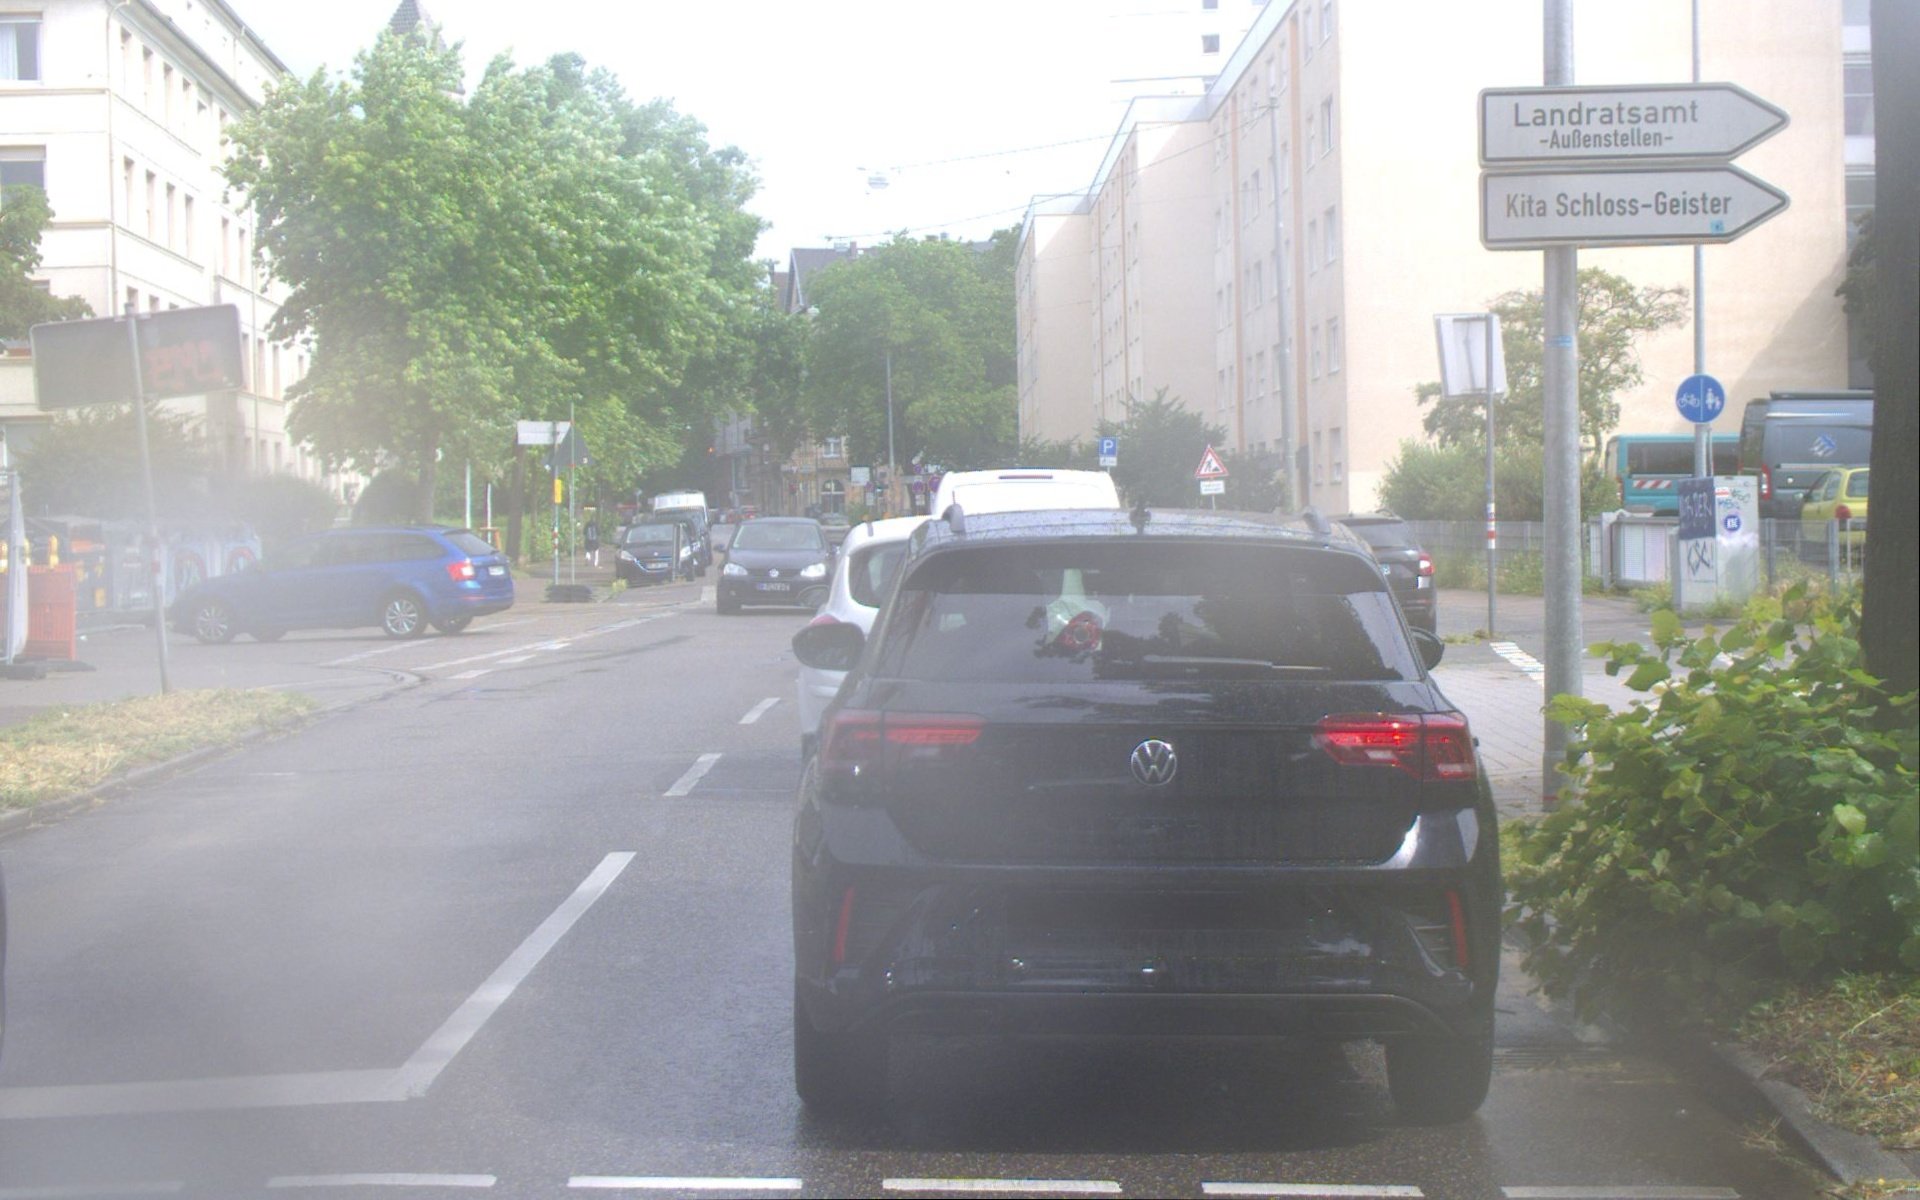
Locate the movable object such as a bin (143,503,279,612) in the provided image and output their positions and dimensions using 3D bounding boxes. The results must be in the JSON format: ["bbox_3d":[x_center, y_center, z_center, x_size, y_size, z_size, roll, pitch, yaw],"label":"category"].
[{"bbox_3d":[-12.012,-0.693,55.196,1.539,1.656,1.457,-1,2,19],"label":"movable object such as a bin"}]

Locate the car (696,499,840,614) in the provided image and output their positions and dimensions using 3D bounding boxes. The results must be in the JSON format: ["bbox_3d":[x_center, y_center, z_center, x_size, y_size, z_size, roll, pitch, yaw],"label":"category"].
[{"bbox_3d":[-2.895,-0.694,52.546,1.841,1.602,4.000,-3,2,1],"label":"car"}]

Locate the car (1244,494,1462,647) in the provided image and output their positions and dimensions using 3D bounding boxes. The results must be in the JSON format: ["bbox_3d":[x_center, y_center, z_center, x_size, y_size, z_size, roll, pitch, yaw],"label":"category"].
[{"bbox_3d":[4.423,-0.379,39.262,1.774,1.534,4.379,-4,2,-2],"label":"car"}]

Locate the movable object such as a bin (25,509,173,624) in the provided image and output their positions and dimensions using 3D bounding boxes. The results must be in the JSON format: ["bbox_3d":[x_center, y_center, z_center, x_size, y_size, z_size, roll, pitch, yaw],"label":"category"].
[{"bbox_3d":[-13.041,-0.520,52.123,1.539,1.650,1.526,-1,2,19],"label":"movable object such as a bin"}]

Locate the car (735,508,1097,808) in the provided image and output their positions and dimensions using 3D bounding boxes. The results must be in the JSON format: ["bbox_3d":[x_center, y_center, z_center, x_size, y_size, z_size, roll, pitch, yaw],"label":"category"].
[{"bbox_3d":[-0.231,0.269,19.378,1.813,1.498,4.000,1,1,0],"label":"car"}]

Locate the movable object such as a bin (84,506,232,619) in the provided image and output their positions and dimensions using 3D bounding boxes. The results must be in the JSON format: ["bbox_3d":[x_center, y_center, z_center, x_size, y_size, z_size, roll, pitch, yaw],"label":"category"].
[{"bbox_3d":[-12.511,-0.596,53.683,1.539,1.668,1.664,-1,2,19],"label":"movable object such as a bin"}]

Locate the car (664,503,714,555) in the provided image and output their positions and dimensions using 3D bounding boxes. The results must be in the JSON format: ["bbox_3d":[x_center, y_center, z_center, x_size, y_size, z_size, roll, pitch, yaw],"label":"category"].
[{"bbox_3d":[-9.091,-2.387,115.181,1.585,1.633,3.921,-3,2,-5],"label":"car"}]

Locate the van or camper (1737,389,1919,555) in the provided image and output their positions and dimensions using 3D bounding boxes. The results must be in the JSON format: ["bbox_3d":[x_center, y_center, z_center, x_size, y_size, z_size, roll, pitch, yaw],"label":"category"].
[{"bbox_3d":[15.055,-2.025,54.462,4.998,2.545,2.175,-1,1,1],"label":"van or camper"}]

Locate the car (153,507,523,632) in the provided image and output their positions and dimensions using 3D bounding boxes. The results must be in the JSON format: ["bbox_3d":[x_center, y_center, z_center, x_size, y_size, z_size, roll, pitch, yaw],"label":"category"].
[{"bbox_3d":[-8.181,-0.410,45.333,4.435,1.579,1.821,0,2,13],"label":"car"}]

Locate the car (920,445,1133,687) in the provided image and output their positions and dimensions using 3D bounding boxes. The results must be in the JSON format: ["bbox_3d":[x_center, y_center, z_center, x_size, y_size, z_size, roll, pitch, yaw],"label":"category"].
[{"bbox_3d":[0.634,-0.320,32.047,1.836,2.095,4.000,1,1,2],"label":"car"}]

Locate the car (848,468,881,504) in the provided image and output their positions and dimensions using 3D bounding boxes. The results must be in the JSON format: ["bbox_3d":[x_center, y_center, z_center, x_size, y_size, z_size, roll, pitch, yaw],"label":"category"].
[{"bbox_3d":[-5.049,-6.007,181.550,1.665,1.831,4.001,-2,2,-2],"label":"car"}]

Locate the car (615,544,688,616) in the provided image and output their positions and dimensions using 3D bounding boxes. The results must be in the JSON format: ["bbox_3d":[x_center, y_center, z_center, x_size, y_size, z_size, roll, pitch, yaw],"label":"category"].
[{"bbox_3d":[-7.097,-0.489,79.232,1.585,1.500,4.065,-3,2,-5],"label":"car"}]

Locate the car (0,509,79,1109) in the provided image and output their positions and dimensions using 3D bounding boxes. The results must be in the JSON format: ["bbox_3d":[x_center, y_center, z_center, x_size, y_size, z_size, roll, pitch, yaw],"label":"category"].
[{"bbox_3d":[-3.425,0.608,7.575,1.813,1.535,3.982,-1,2,2],"label":"car"}]

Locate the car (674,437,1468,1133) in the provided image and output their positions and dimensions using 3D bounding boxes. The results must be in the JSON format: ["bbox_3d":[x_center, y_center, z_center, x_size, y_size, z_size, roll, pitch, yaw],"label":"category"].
[{"bbox_3d":[0.249,0.411,10.216,1.873,1.640,4.062,1,1,0],"label":"car"}]

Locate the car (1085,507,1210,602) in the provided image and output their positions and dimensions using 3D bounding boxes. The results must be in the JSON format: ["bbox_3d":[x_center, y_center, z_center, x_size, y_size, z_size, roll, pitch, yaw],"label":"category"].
[{"bbox_3d":[3.366,-0.800,62.403,1.748,1.503,4.112,-1,-2,-4],"label":"car"}]

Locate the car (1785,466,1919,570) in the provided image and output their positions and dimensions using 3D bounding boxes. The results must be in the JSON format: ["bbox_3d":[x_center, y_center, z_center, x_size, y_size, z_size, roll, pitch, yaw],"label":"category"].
[{"bbox_3d":[13.408,-1.228,50.923,1.610,1.444,3.417,-2,2,2],"label":"car"}]

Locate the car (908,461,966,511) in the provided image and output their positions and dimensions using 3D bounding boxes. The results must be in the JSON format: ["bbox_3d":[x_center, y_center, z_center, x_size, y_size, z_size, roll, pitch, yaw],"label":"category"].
[{"bbox_3d":[-0.784,-3.914,118.624,1.841,1.602,3.675,-3,2,1],"label":"car"}]

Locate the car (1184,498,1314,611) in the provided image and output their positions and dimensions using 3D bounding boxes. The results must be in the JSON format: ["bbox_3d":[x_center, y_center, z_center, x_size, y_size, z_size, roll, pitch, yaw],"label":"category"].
[{"bbox_3d":[4.230,-0.644,50.779,1.757,1.522,3.999,2,0,3],"label":"car"}]

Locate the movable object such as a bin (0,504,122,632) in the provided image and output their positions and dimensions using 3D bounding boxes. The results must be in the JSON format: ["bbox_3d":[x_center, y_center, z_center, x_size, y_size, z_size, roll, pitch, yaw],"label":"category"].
[{"bbox_3d":[-13.388,-0.473,50.584,1.539,1.818,1.262,-1,2,19],"label":"movable object such as a bin"}]

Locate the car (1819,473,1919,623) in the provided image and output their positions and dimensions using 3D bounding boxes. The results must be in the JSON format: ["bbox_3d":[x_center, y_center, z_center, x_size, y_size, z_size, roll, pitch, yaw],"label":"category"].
[{"bbox_3d":[11.912,-0.690,42.125,1.804,1.744,4.238,-2,2,2],"label":"car"}]

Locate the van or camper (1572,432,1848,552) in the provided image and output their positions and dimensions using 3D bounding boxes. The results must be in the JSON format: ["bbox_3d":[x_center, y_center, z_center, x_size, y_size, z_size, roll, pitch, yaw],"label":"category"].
[{"bbox_3d":[14.092,-2.038,64.855,4.760,2.124,2.321,-1,2,4],"label":"van or camper"}]
